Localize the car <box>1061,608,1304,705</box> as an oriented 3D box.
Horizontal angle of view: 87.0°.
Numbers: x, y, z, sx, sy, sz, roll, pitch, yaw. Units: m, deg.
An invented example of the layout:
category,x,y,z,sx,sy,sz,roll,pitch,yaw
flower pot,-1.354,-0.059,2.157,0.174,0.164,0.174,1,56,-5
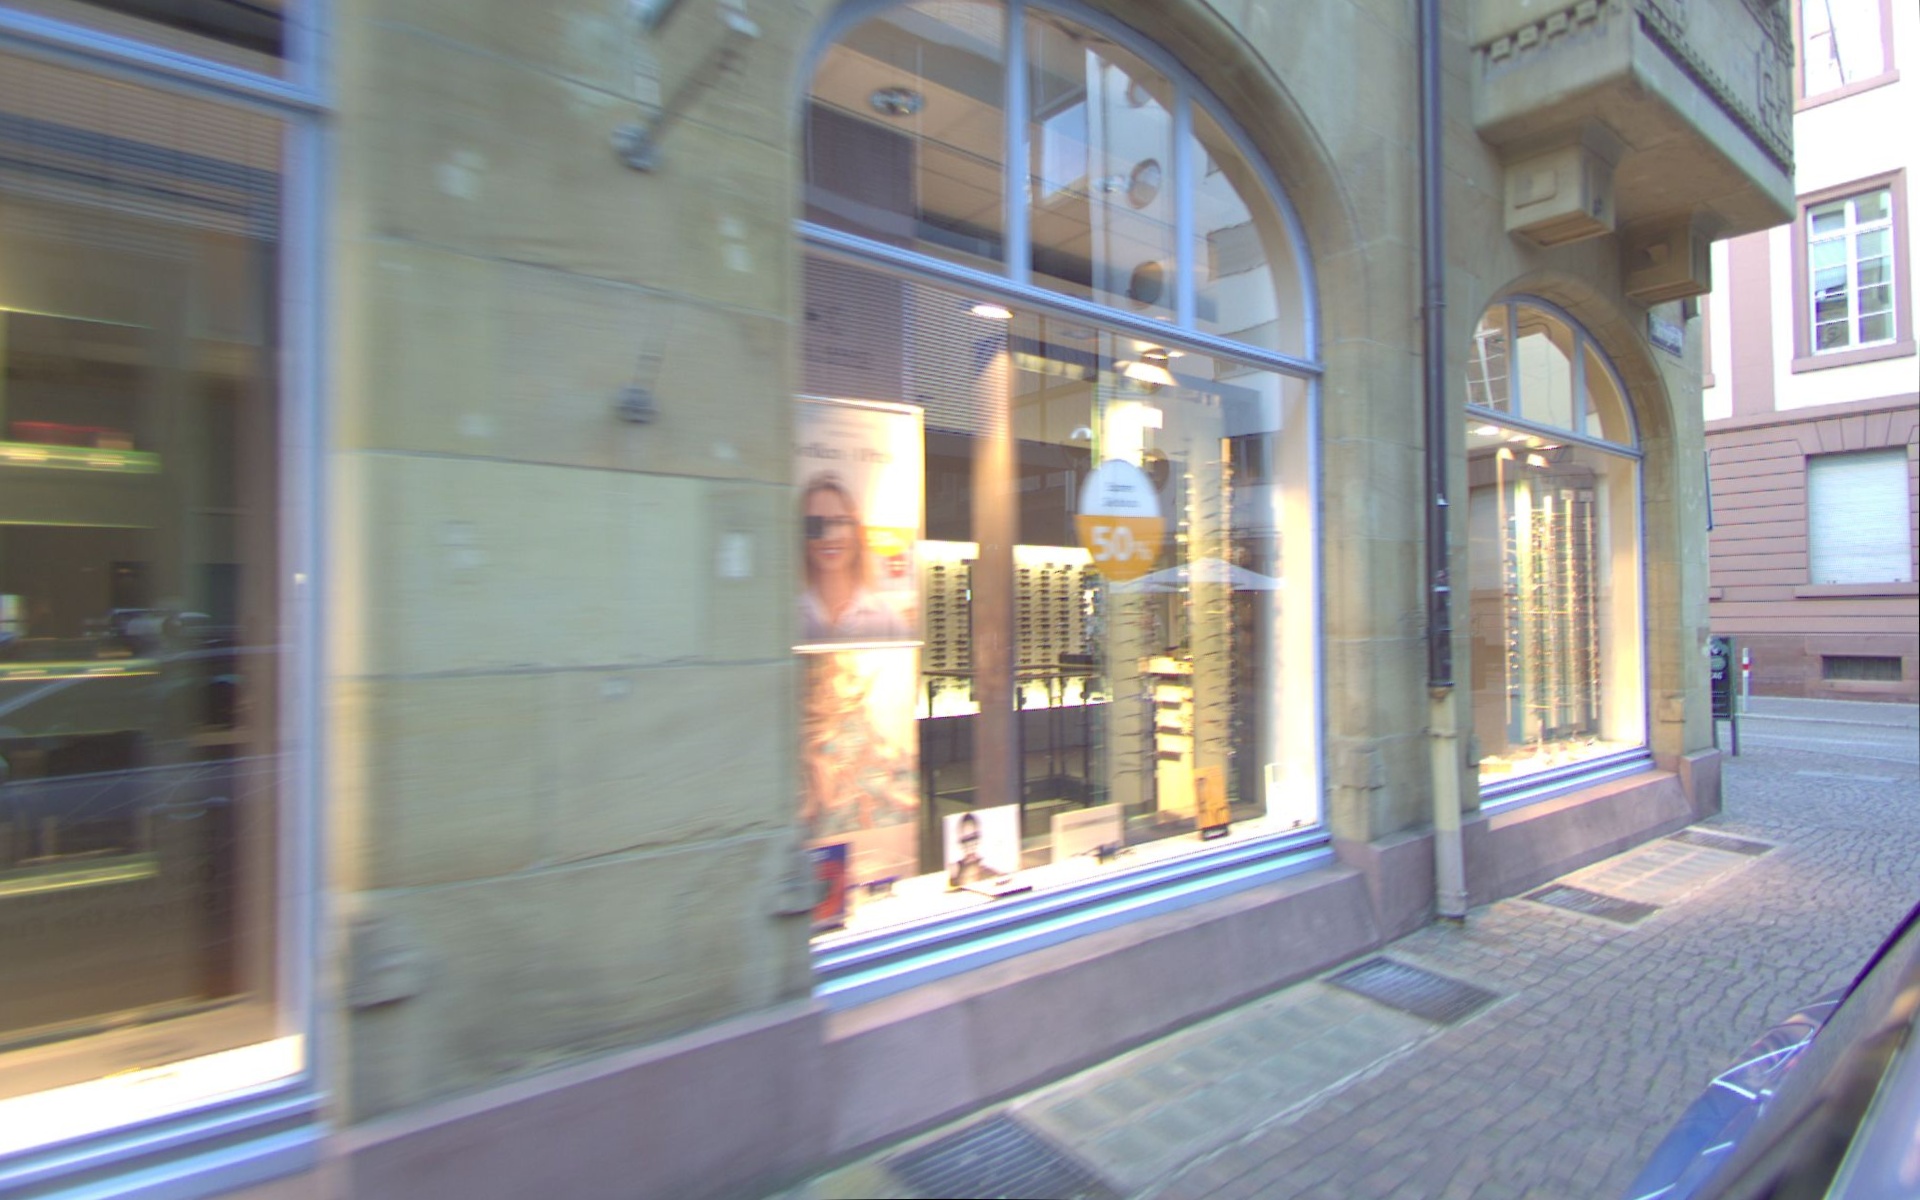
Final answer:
category,x,y,z,sx,sy,sz,roll,pitch,yaw
car,3.674,0.892,17.328,1.619,1.461,3.998,0,-1,-36
